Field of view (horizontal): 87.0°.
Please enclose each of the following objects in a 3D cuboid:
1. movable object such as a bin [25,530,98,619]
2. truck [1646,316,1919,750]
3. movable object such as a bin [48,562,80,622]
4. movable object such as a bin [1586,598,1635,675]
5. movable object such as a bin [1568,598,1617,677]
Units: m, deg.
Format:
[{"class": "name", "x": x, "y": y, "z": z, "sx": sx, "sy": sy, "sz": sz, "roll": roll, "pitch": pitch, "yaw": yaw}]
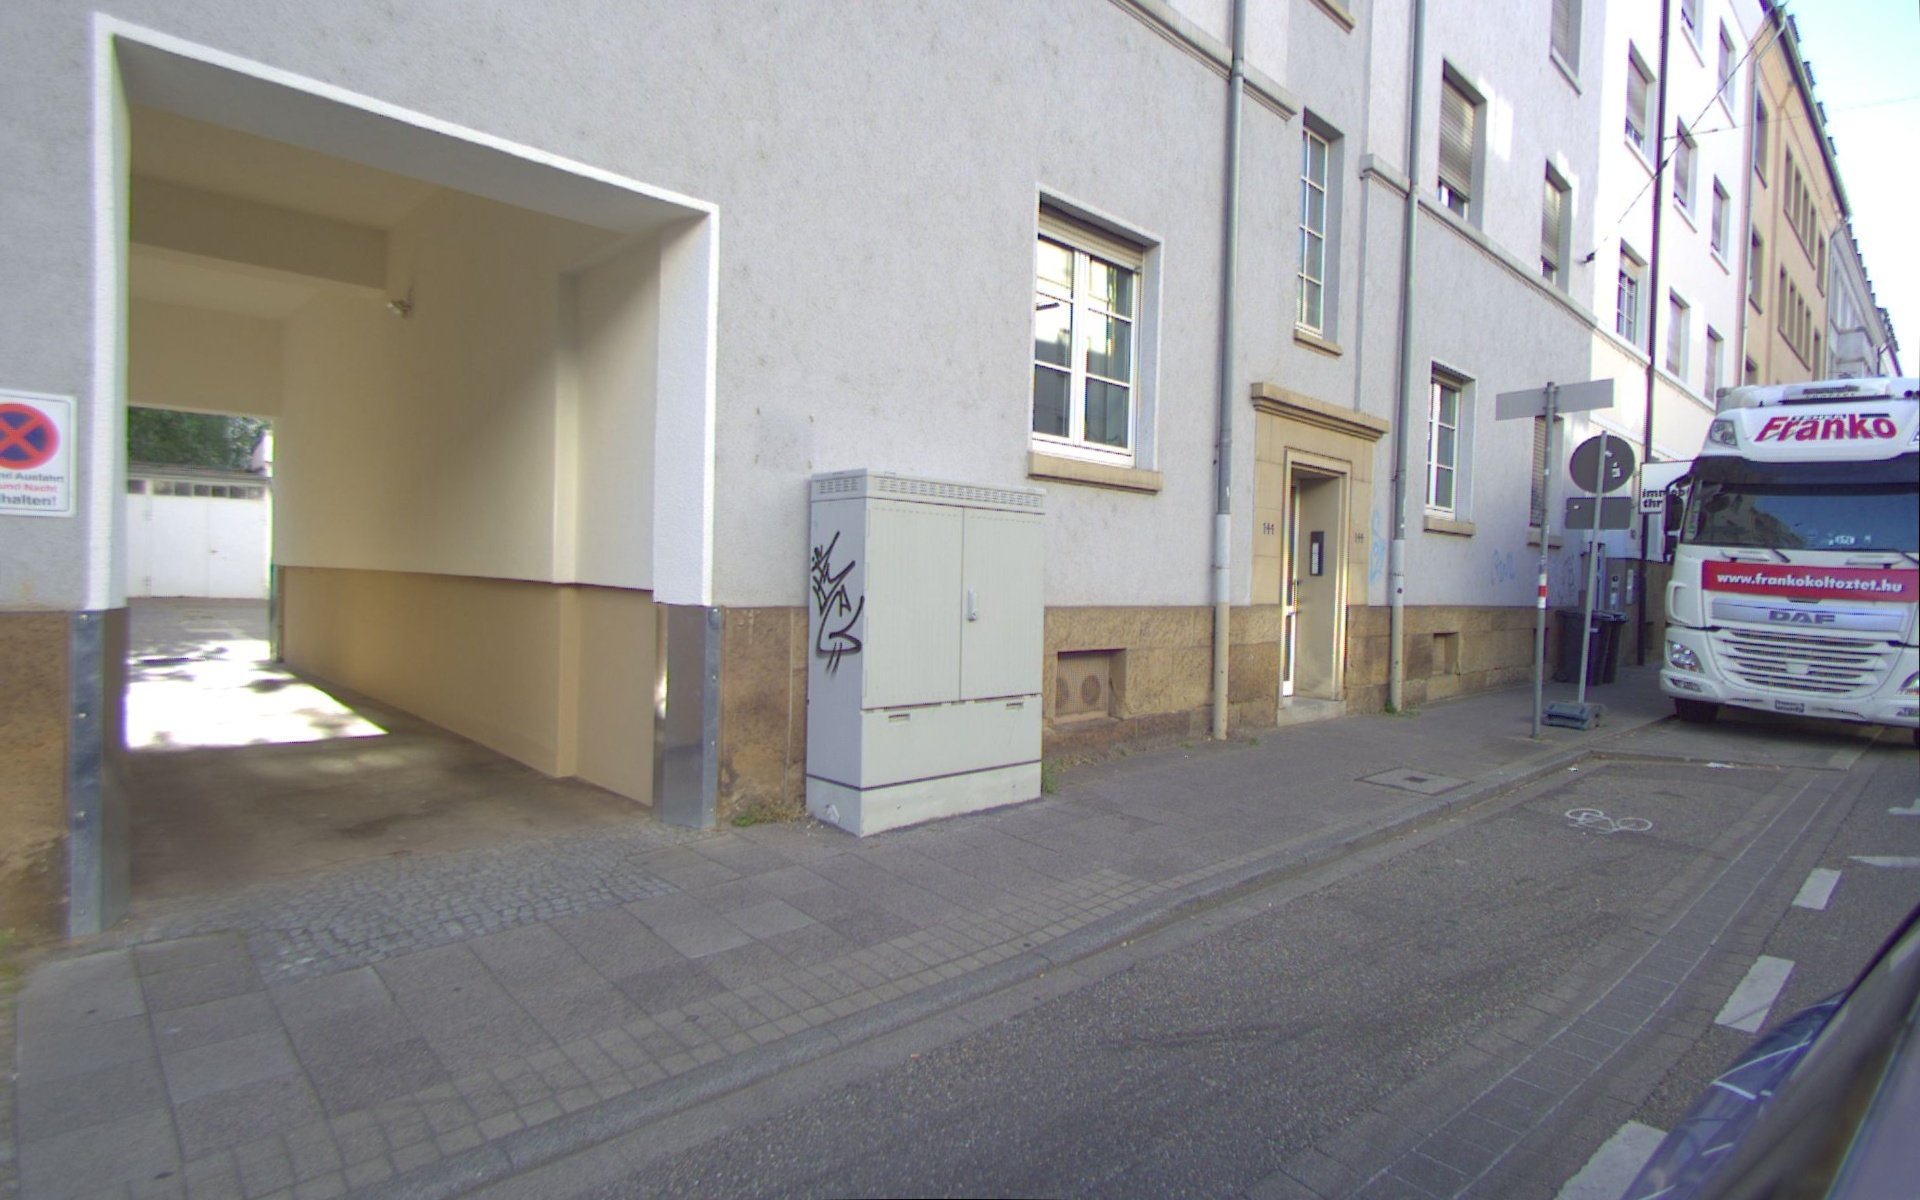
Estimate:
[{"class": "movable object such as a bin", "x": -14.824, "y": -0.425, "z": 16.699, "sx": 0.874, "sy": 1.409, "sz": 0.758, "roll": 0, "pitch": 4, "yaw": -44}, {"class": "truck", "x": 12.561, "y": -0.612, "z": 13.862, "sx": 11.511, "sy": 4.012, "sz": 2.894, "roll": 0, "pitch": 0, "yaw": -44}, {"class": "movable object such as a bin", "x": -14.402, "y": -0.135, "z": 16.264, "sx": 0.366, "sy": 0.919, "sz": 0.420, "roll": 0, "pitch": 3, "yaw": -44}, {"class": "movable object such as a bin", "x": 9.584, "y": 0.519, "z": 14.909, "sx": 0.511, "sy": 1.106, "sz": 0.488, "roll": 0, "pitch": 0, "yaw": 45}, {"class": "movable object such as a bin", "x": 9.113, "y": 0.528, "z": 14.581, "sx": 0.511, "sy": 1.106, "sz": 0.488, "roll": 0, "pitch": 0, "yaw": 45}]
